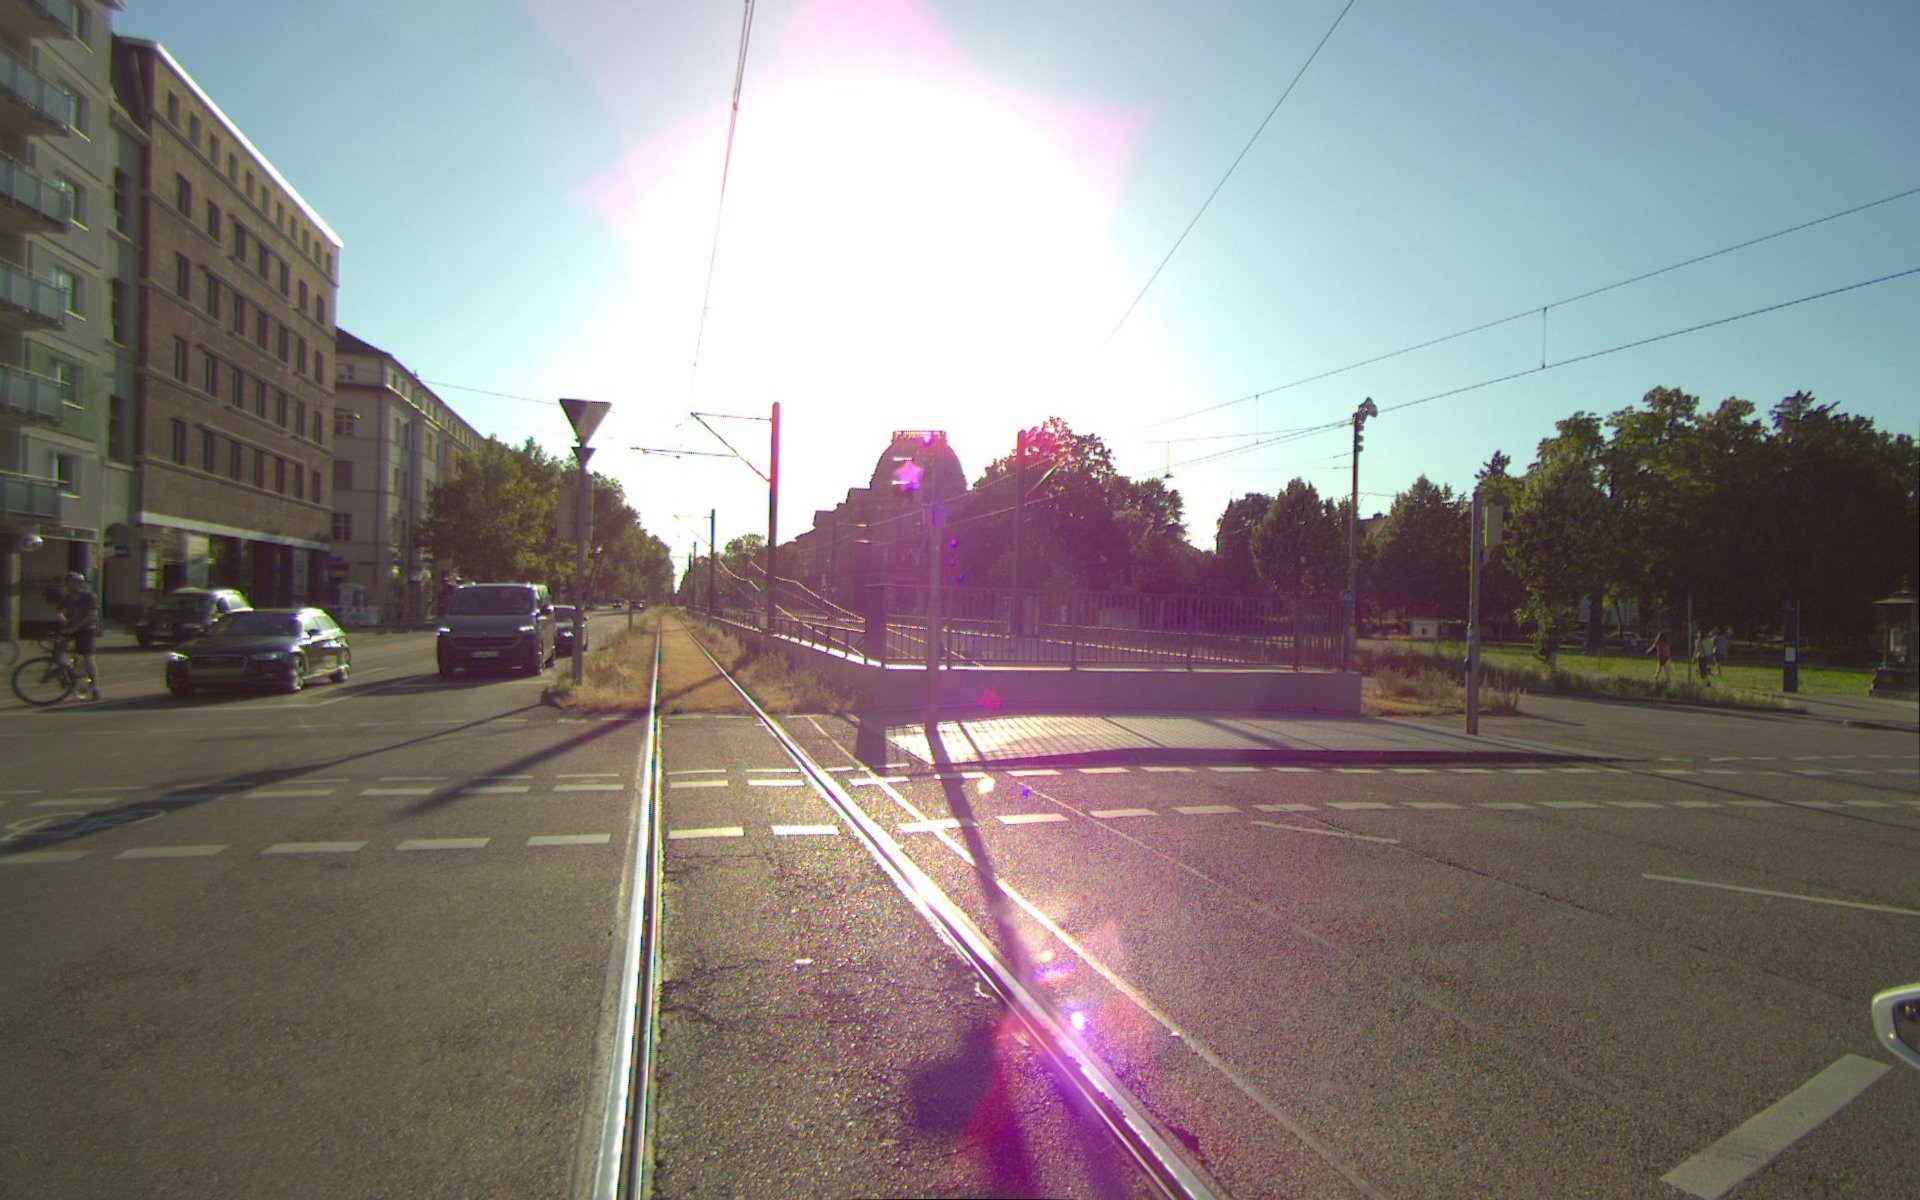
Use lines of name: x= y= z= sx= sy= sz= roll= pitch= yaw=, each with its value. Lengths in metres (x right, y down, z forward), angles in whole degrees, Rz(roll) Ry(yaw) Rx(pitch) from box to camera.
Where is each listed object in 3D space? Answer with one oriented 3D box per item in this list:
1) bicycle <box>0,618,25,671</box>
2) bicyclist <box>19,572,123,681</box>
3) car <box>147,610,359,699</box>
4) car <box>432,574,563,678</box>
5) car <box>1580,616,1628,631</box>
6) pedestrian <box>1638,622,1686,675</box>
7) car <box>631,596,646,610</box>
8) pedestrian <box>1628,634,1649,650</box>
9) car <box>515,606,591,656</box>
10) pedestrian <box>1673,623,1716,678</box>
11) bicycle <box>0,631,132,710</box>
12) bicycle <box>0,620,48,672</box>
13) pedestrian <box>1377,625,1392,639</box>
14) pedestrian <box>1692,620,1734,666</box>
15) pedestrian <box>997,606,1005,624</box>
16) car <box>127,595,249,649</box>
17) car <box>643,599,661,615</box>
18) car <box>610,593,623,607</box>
bicycle: x=-20.625 y=0.878 z=20.415 sx=2.262 sy=1.065 sz=0.734 roll=2 pitch=0 yaw=-16
bicyclist: x=-13.649 y=0.410 z=15.455 sx=0.947 sy=1.619 sz=0.736 roll=0 pitch=-1 yaw=-15
car: x=-12.156 y=0.873 z=17.611 sx=1.772 sy=1.330 sz=4.185 roll=2 pitch=-1 yaw=-17
car: x=-10.157 y=0.550 z=22.440 sx=1.968 sy=2.040 sz=4.921 roll=2 pitch=-1 yaw=-17
car: x=75.679 y=2.788 z=118.105 sx=1.974 sy=1.592 sz=4.434 roll=2 pitch=0 yaw=-26
pedestrian: x=23.867 y=1.625 z=34.166 sx=0.828 sy=1.719 sz=1.017 roll=2 pitch=1 yaw=-1
car: x=-48.282 y=0.475 z=150.740 sx=1.971 sy=2.040 sz=3.980 roll=2 pitch=-1 yaw=-21
pedestrian: x=43.932 y=2.711 z=65.050 sx=1.163 sy=0.966 sz=0.796 roll=1 pitch=1 yaw=-37
car: x=-12.334 y=0.913 z=30.641 sx=1.772 sy=1.392 sz=3.899 roll=2 pitch=-1 yaw=-17
pedestrian: x=23.717 y=1.618 z=32.463 sx=0.696 sy=1.719 sz=0.896 roll=2 pitch=1 yaw=5
bicycle: x=-13.592 y=1.028 z=15.230 sx=0.936 sy=1.112 sz=1.777 roll=0 pitch=-1 yaw=-15
bicycle: x=-20.844 y=0.952 z=21.187 sx=2.262 sy=1.065 sz=0.734 roll=2 pitch=0 yaw=-16
pedestrian: x=37.285 y=2.825 z=88.267 sx=0.800 sy=1.203 sz=0.842 roll=2 pitch=0 yaw=-16
pedestrian: x=29.129 y=1.646 z=38.851 sx=0.835 sy=1.719 sz=1.008 roll=1 pitch=1 yaw=-32
pedestrian: x=4.250 y=1.560 z=103.872 sx=0.674 sy=1.847 sz=0.534 roll=2 pitch=0 yaw=-12
car: x=-23.738 y=0.658 z=31.056 sx=1.669 sy=1.528 sz=3.985 roll=2 pitch=-1 yaw=-17
car: x=-40.356 y=0.955 z=131.594 sx=1.971 sy=2.040 sz=3.980 roll=2 pitch=-1 yaw=-21
car: x=-61.032 y=0.004 z=178.547 sx=1.968 sy=2.274 sz=3.985 roll=2 pitch=0 yaw=-17
